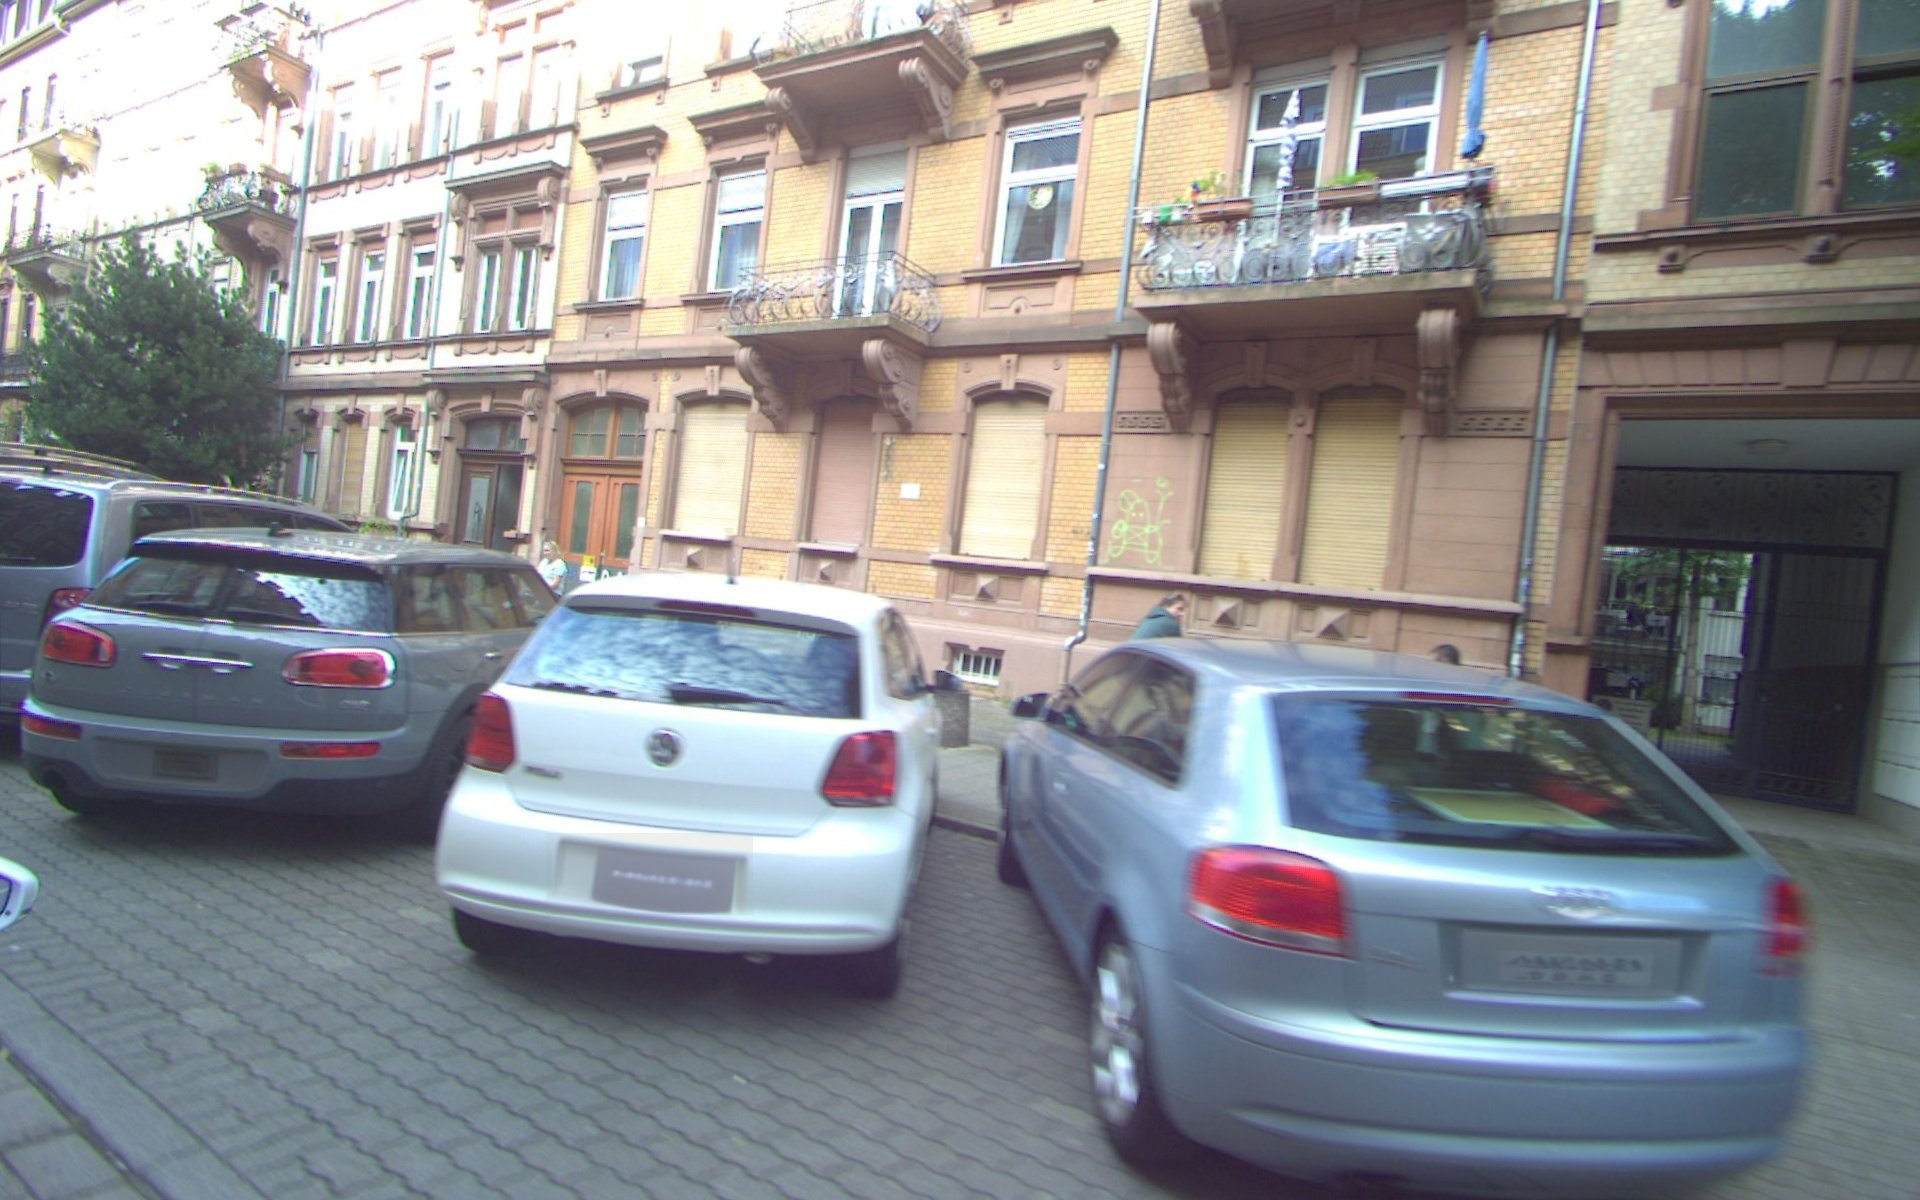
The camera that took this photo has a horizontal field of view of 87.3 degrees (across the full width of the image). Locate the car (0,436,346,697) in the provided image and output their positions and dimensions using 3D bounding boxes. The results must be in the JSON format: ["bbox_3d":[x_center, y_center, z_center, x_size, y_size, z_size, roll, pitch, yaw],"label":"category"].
[{"bbox_3d":[-7.629,-0.338,8.771,1.722,1.846,4.400,5,1,0],"label":"car"}]

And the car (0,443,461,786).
[{"bbox_3d":[-5.595,-0.014,7.250,1.805,1.763,3.998,6,1,1],"label":"car"}]

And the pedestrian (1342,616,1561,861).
[{"bbox_3d":[3.426,0.943,7.085,0.986,1.521,0.719,7,1,-7],"label":"pedestrian"}]

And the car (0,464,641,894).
[{"bbox_3d":[-3.357,0.251,5.972,1.836,1.569,3.993,6,2,-5],"label":"car"}]

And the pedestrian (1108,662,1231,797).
[{"bbox_3d":[1.733,1.038,8.300,0.782,0.973,0.554,6,1,29],"label":"pedestrian"}]

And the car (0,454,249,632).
[{"bbox_3d":[-10.718,-0.685,10.799,1.779,1.809,4.638,9,3,30],"label":"car"}]

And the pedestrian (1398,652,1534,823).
[{"bbox_3d":[4.198,1.125,8.382,0.707,1.295,0.570,6,-1,-7],"label":"pedestrian"}]

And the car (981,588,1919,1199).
[{"bbox_3d":[1.244,0.792,4.146,1.853,1.480,3.995,5,1,-4],"label":"car"}]

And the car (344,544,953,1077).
[{"bbox_3d":[-0.952,0.571,4.994,1.704,1.470,3.995,5,2,0],"label":"car"}]

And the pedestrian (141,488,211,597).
[{"bbox_3d":[-12.774,-0.935,16.396,0.622,1.679,0.574,7,-1,32],"label":"pedestrian"}]

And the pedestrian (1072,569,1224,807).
[{"bbox_3d":[1.454,0.644,7.728,0.819,1.655,0.732,6,1,29],"label":"pedestrian"}]

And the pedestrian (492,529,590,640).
[{"bbox_3d":[-6.198,-0.210,14.898,0.798,1.516,0.929,7,2,25],"label":"pedestrian"}]

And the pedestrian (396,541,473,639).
[{"bbox_3d":[-7.097,-0.130,13.592,0.662,1.235,0.600,7,3,31],"label":"pedestrian"}]
